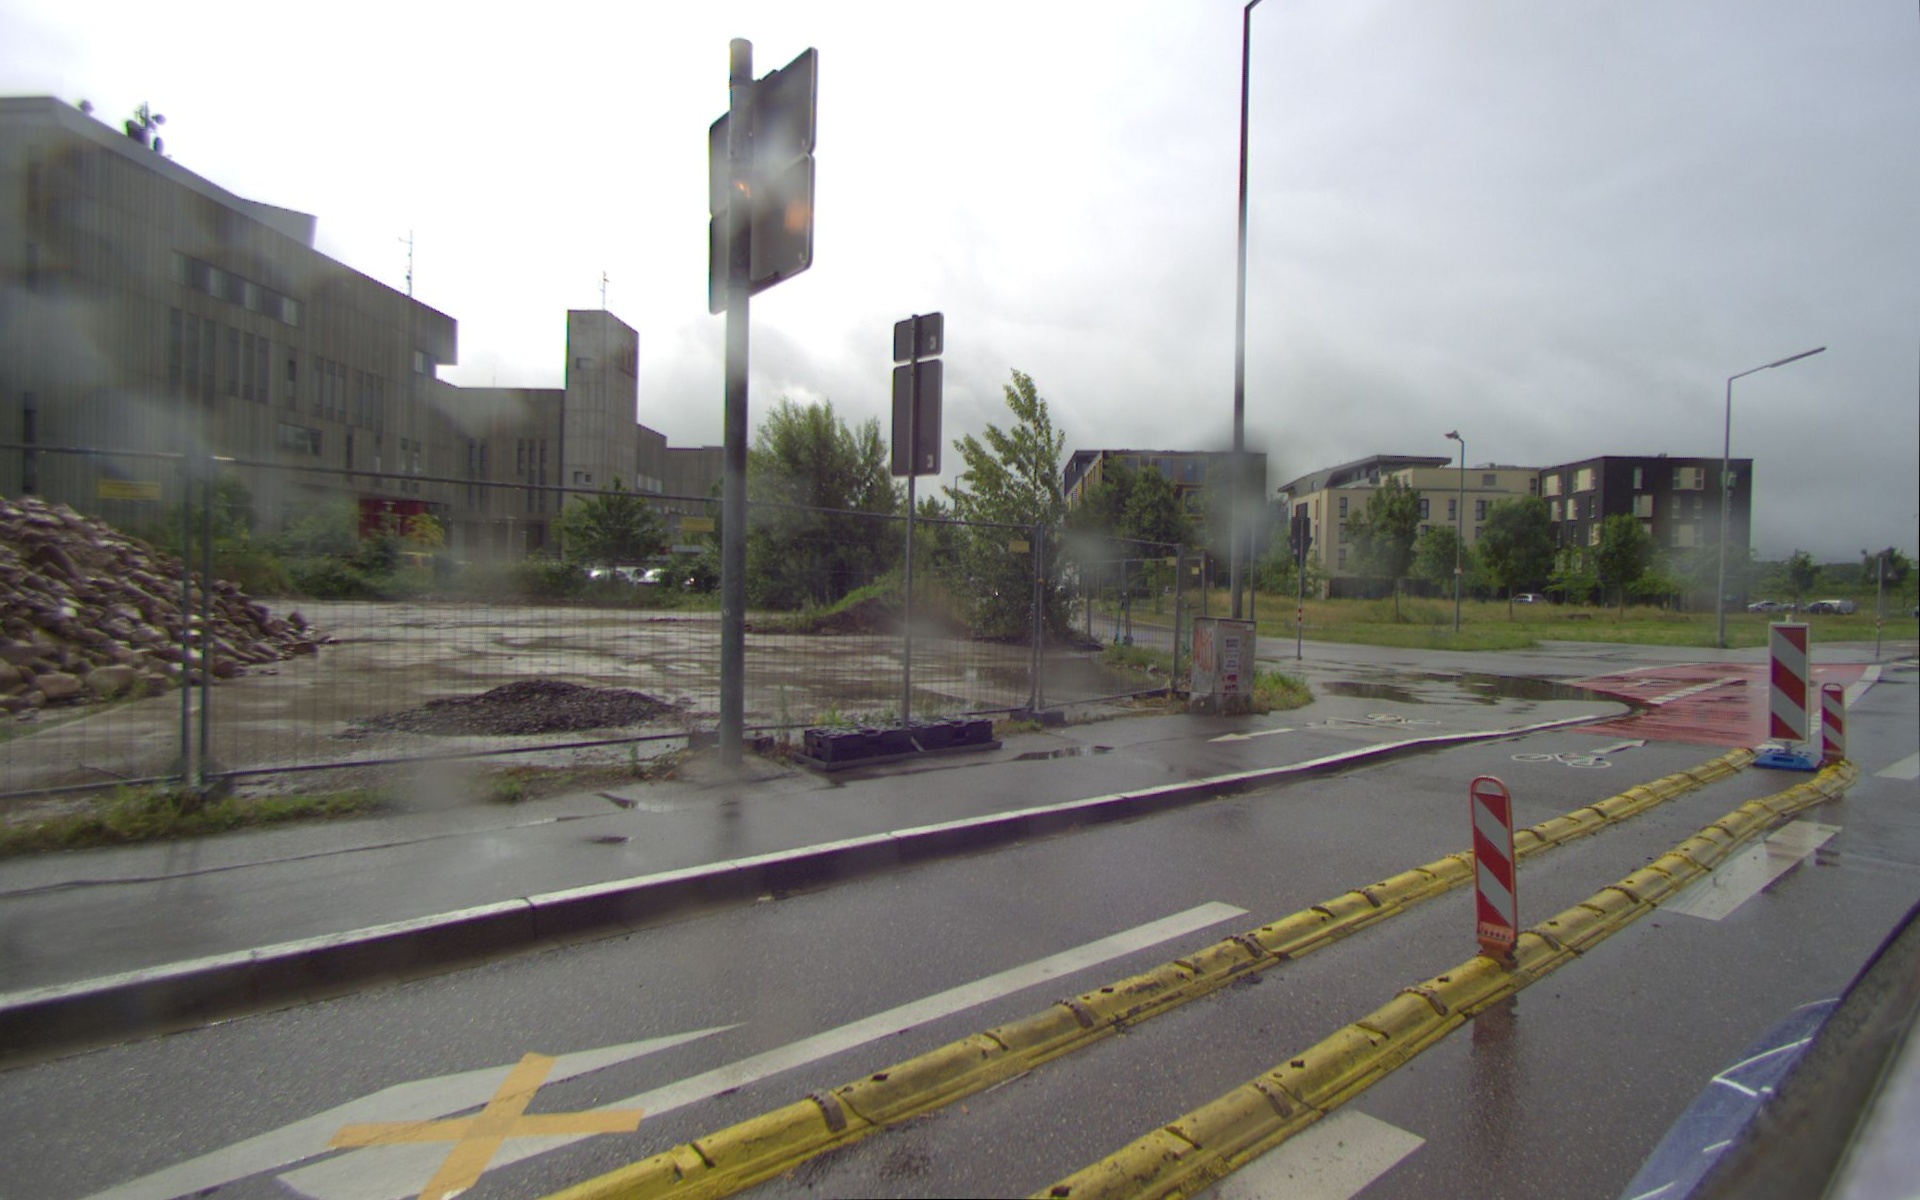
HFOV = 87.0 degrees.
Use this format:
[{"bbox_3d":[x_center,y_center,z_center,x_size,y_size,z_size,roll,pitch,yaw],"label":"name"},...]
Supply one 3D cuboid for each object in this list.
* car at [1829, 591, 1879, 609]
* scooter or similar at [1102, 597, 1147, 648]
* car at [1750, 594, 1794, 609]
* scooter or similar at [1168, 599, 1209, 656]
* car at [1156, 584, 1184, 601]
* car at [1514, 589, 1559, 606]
[{"bbox_3d":[104.077,-0.025,117.835,3.931,2.039,1.997,1,0,6],"label":"car"},{"bbox_3d":[3.977,0.528,24.514,0.732,1.164,1.197,1,1,-7],"label":"scooter or similar"},{"bbox_3d":[93.516,0.150,116.607,3.590,1.631,1.596,1,0,10],"label":"car"},{"bbox_3d":[4.910,0.584,21.801,0.473,1.164,1.196,1,1,-7],"label":"scooter or similar"},{"bbox_3d":[20.418,-0.780,98.354,1.615,1.603,3.672,1,1,-6],"label":"car"},{"bbox_3d":[54.755,-0.230,96.133,3.591,1.603,1.652,1,0,-17],"label":"car"}]
